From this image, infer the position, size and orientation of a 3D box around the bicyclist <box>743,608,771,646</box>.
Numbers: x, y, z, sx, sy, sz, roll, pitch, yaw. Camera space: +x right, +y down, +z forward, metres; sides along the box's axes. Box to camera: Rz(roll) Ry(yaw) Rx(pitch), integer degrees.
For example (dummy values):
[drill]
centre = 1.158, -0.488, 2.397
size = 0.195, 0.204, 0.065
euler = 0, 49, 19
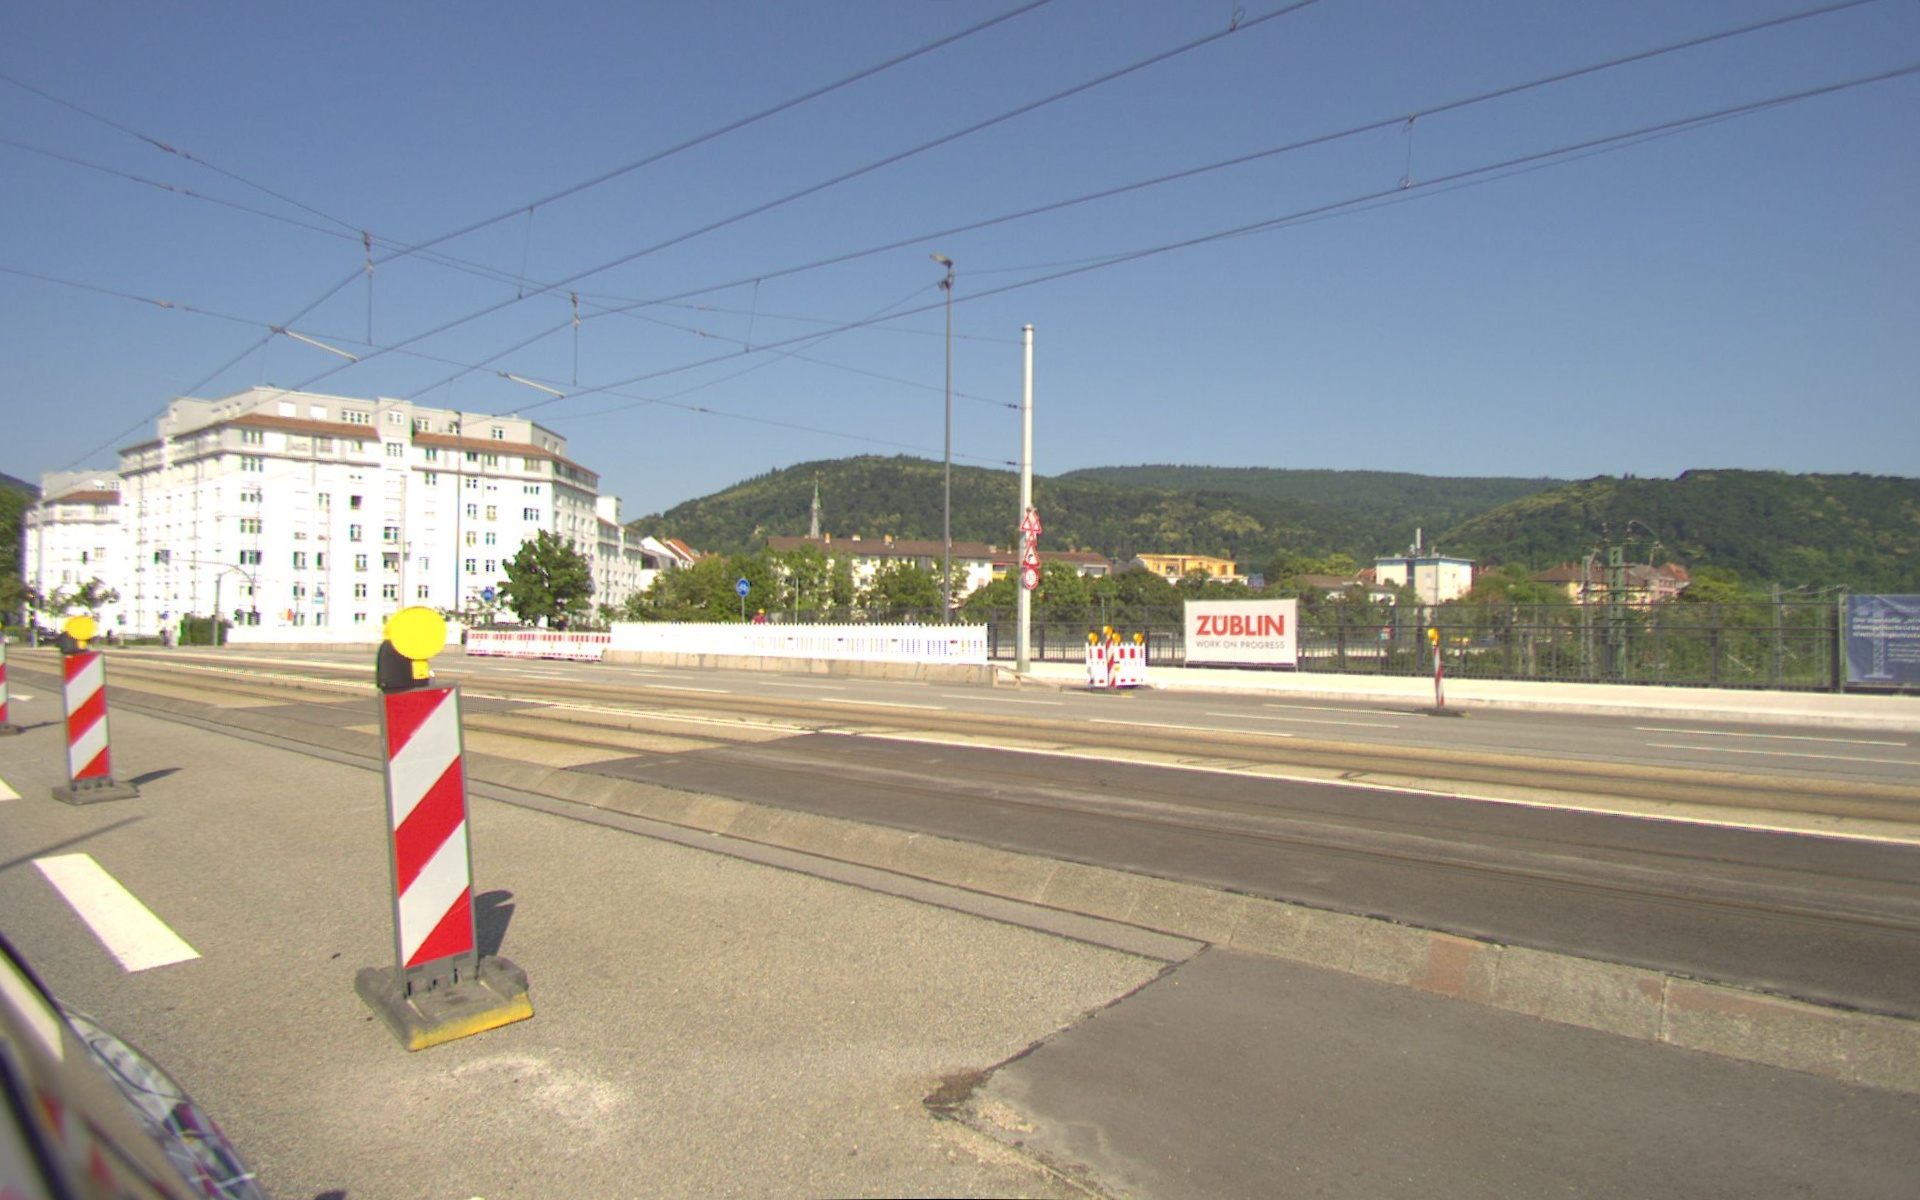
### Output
[bicyclist]
centre = -8.435, 1.109, 42.080
size = 0.817, 1.530, 0.847
euler = -1, 0, 40

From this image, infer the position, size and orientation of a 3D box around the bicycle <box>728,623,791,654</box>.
[bicycle]
centre = -8.352, 1.569, 42.030
size = 3.070, 1.204, 0.847
euler = -1, 0, 41
